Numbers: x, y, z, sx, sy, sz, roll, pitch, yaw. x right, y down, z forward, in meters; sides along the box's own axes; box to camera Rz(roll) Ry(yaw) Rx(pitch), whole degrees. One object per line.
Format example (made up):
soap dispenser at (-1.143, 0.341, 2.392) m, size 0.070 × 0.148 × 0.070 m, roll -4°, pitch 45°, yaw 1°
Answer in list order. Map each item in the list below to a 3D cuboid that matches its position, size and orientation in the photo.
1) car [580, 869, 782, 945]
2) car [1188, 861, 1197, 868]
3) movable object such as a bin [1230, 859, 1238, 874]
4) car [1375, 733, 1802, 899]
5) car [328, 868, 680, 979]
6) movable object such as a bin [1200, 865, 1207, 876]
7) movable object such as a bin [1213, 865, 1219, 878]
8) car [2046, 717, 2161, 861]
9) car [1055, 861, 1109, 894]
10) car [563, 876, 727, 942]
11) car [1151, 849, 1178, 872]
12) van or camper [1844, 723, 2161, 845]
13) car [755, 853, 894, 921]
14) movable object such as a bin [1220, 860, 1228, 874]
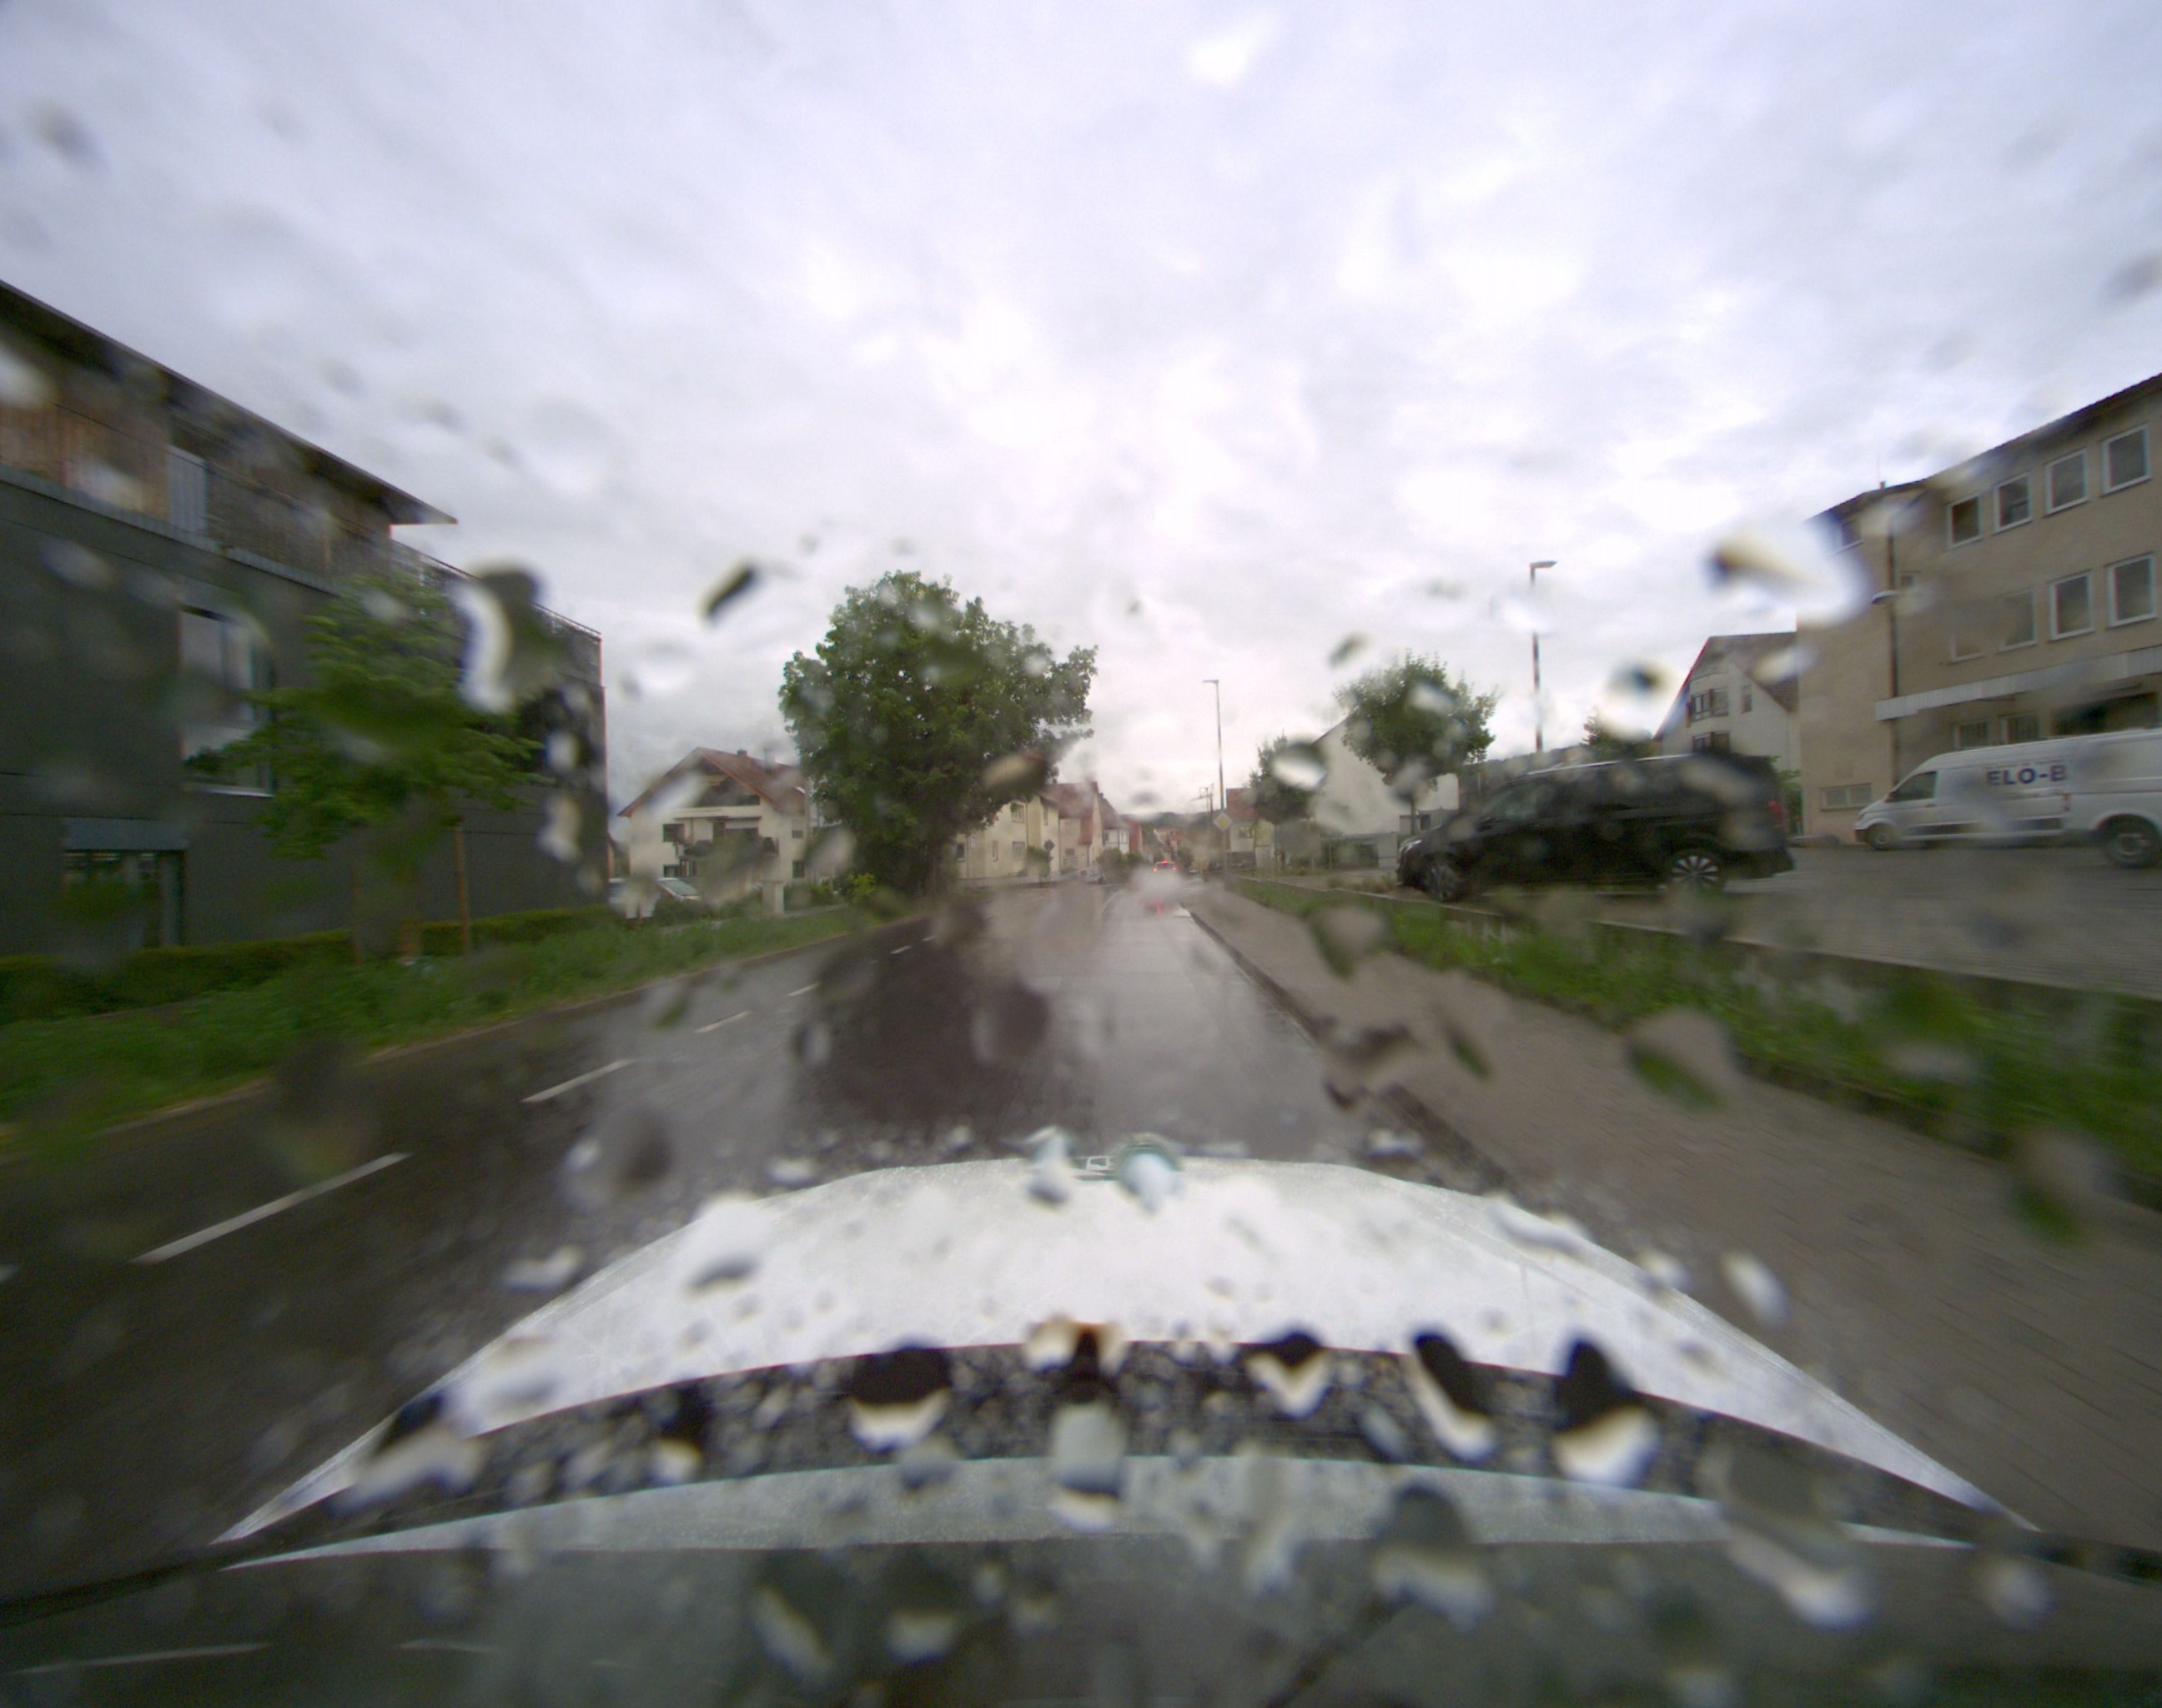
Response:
car at (-7.245, 0.937, 14.921) m, size 2.897 × 1.159 × 1.472 m, roll -3°, pitch -1°, yaw 2°
car at (29.898, 2.830, 218.827) m, size 1.828 × 1.578 × 4.307 m, roll 0°, pitch 1°, yaw 15°
movable object such as a bin at (11.129, 0.925, 59.367) m, size 0.525 × 1.028 × 0.633 m, roll 0°, pitch 1°, yaw 8°
car at (7.383, -0.403, 12.292) m, size 5.049 × 1.919 × 2.067 m, roll -4°, pitch -1°, yaw 39°
car at (-8.121, 0.945, 11.680) m, size 3.885 × 1.284 × 1.583 m, roll -3°, pitch -1°, yaw 2°
movable object such as a bin at (14.298, 1.943, 95.131) m, size 0.740 × 1.279 × 0.885 m, roll -2°, pitch 1°, yaw 10°
movable object such as a bin at (9.872, 1.271, 59.500) m, size 0.422 × 0.940 × 0.509 m, roll 0°, pitch 1°, yaw 8°
car at (16.065, -0.933, 10.482) m, size 1.788 × 2.013 × 4.599 m, roll -2°, pitch 1°, yaw -1°
car at (0.083, 2.223, 77.916) m, size 4.529 × 2.012 × 2.165 m, roll -14°, pitch -1°, yaw 8°
car at (-14.814, 1.839, 27.893) m, size 4.382 × 2.013 × 2.154 m, roll -1°, pitch 1°, yaw 0°
car at (7.173, 0.524, 69.683) m, size 2.105 × 1.888 × 4.513 m, roll 0°, pitch 1°, yaw 8°
van or camper at (23.179, -1.519, 20.093) m, size 1.992 × 2.536 × 6.586 m, roll -1°, pitch 1°, yaw -8°
car at (-6.163, 0.794, 19.697) m, size 2.897 × 1.455 × 1.254 m, roll -3°, pitch -3°, yaw 2°
movable object such as a bin at (10.459, 0.937, 59.422) m, size 0.541 × 1.028 × 0.633 m, roll 0°, pitch 1°, yaw 8°
